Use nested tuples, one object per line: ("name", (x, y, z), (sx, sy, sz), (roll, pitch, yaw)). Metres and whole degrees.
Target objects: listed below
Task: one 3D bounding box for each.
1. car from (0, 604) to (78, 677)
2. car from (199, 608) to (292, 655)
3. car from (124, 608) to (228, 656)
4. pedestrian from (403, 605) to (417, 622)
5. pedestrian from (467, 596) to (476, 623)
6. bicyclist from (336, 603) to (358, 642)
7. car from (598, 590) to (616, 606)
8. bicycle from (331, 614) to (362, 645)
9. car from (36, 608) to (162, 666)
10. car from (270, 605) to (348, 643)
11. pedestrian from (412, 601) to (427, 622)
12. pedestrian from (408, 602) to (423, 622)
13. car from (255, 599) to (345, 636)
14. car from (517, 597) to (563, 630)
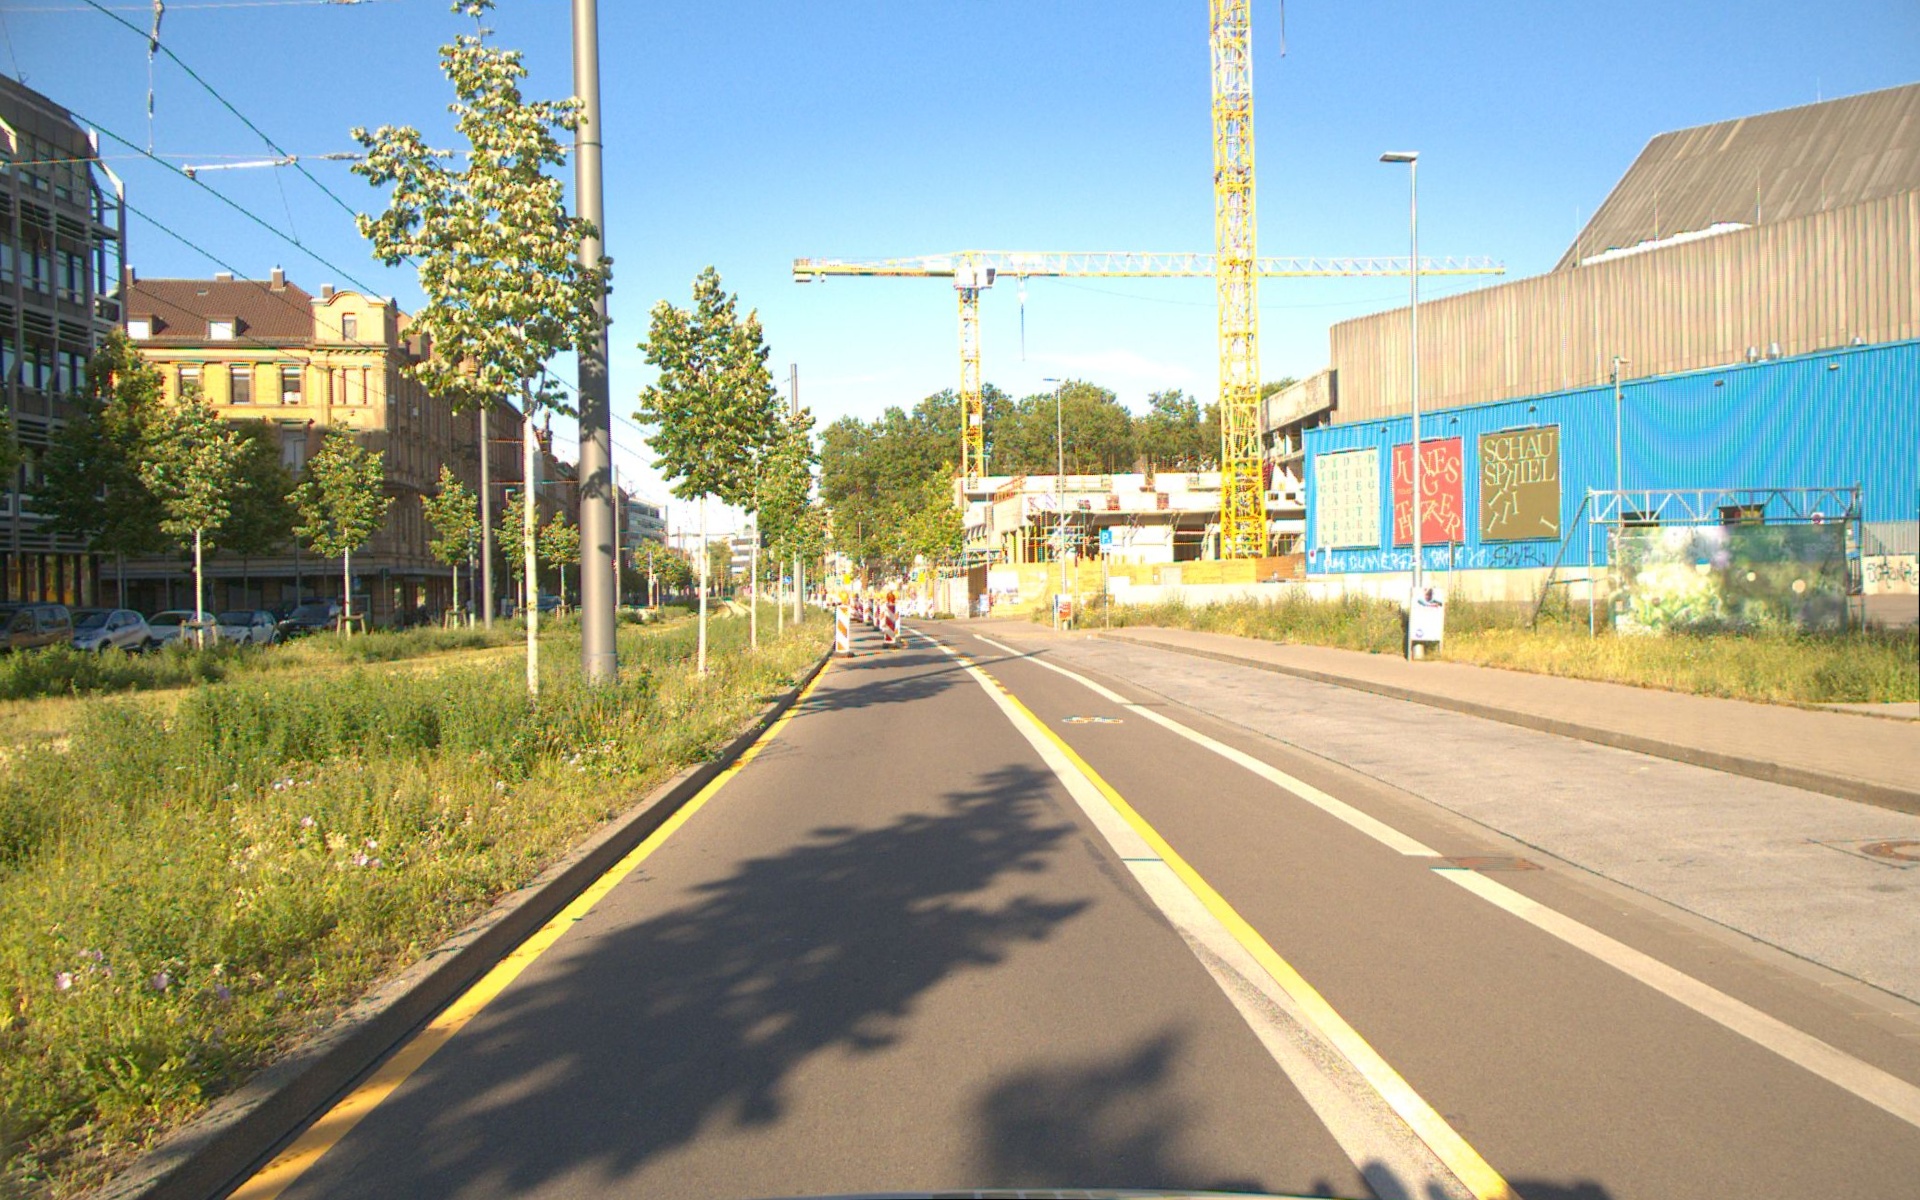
("car", (-25.375, 1.049, 43.815), (1.715, 1.802, 4.330), (0, 1, -1))
("car", (-25.840, 1.128, 59.934), (1.615, 1.581, 3.966), (-1, 0, 0))
("car", (-25.526, 1.005, 53.978), (1.591, 1.466, 3.818), (0, 0, -1))
("pedestrian", (-34.728, 0.844, 104.427), (0.677, 1.078, 0.734), (-1, 0, -7))
("pedestrian", (-32.757, 0.666, 110.948), (0.498, 1.795, 0.405), (1, -1, -9))
("bicyclist", (-23.698, 0.870, 63.908), (0.554, 1.482, 0.705), (-2, 0, -2))
("car", (-37.707, -0.238, 176.850), (1.537, 1.590, 4.705), (-1, 1, -9))
("bicycle", (-23.690, 1.137, 63.876), (0.553, 1.115, 1.770), (-2, 1, -2))
("car", (-25.399, 1.058, 48.920), (1.702, 1.563, 3.884), (0, 1, -1))
("car", (-26.626, 0.973, 67.720), (1.695, 1.487, 3.899), (0, 0, -1))
("pedestrian", (-33.723, 0.722, 103.221), (0.677, 1.268, 0.928), (-1, 0, -7))
("pedestrian", (-34.822, 0.777, 105.788), (0.776, 1.229, 0.928), (-1, 0, -7))
("car", (-37.347, 0.953, 93.645), (4.431, 1.936, 1.892), (-2, 0, -13))
("car", (-23.581, 0.739, 93.005), (1.693, 1.777, 4.119), (-1, 0, -3))
